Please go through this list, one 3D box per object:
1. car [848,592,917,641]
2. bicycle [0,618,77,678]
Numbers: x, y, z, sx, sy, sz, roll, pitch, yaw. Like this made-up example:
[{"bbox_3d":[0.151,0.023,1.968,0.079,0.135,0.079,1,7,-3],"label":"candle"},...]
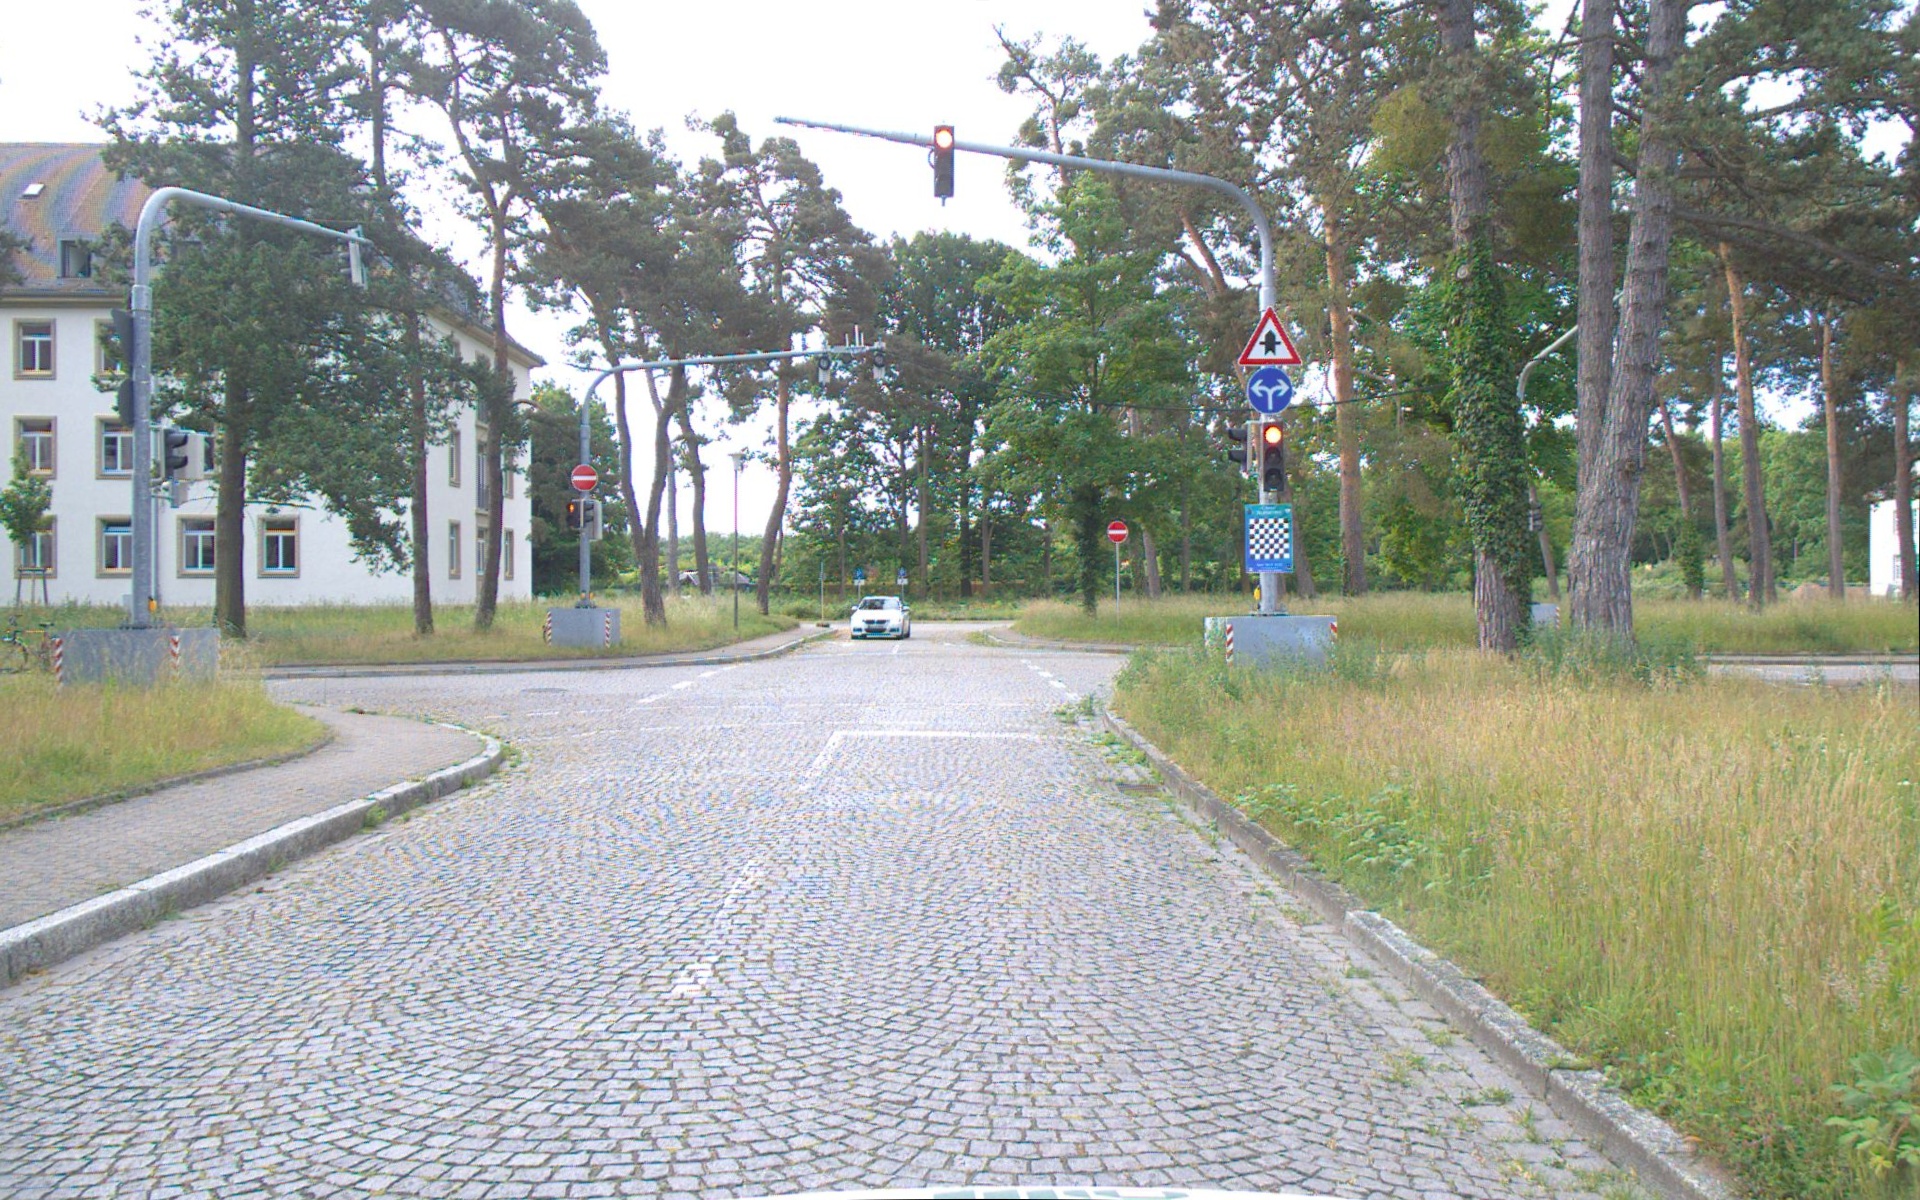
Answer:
[{"bbox_3d":[-2.591,0.525,56.417,1.736,1.463,4.221,-3,1,5],"label":"car"},{"bbox_3d":[-17.456,0.902,31.059,1.435,1.084,0.516,-1,0,-3],"label":"bicycle"}]
